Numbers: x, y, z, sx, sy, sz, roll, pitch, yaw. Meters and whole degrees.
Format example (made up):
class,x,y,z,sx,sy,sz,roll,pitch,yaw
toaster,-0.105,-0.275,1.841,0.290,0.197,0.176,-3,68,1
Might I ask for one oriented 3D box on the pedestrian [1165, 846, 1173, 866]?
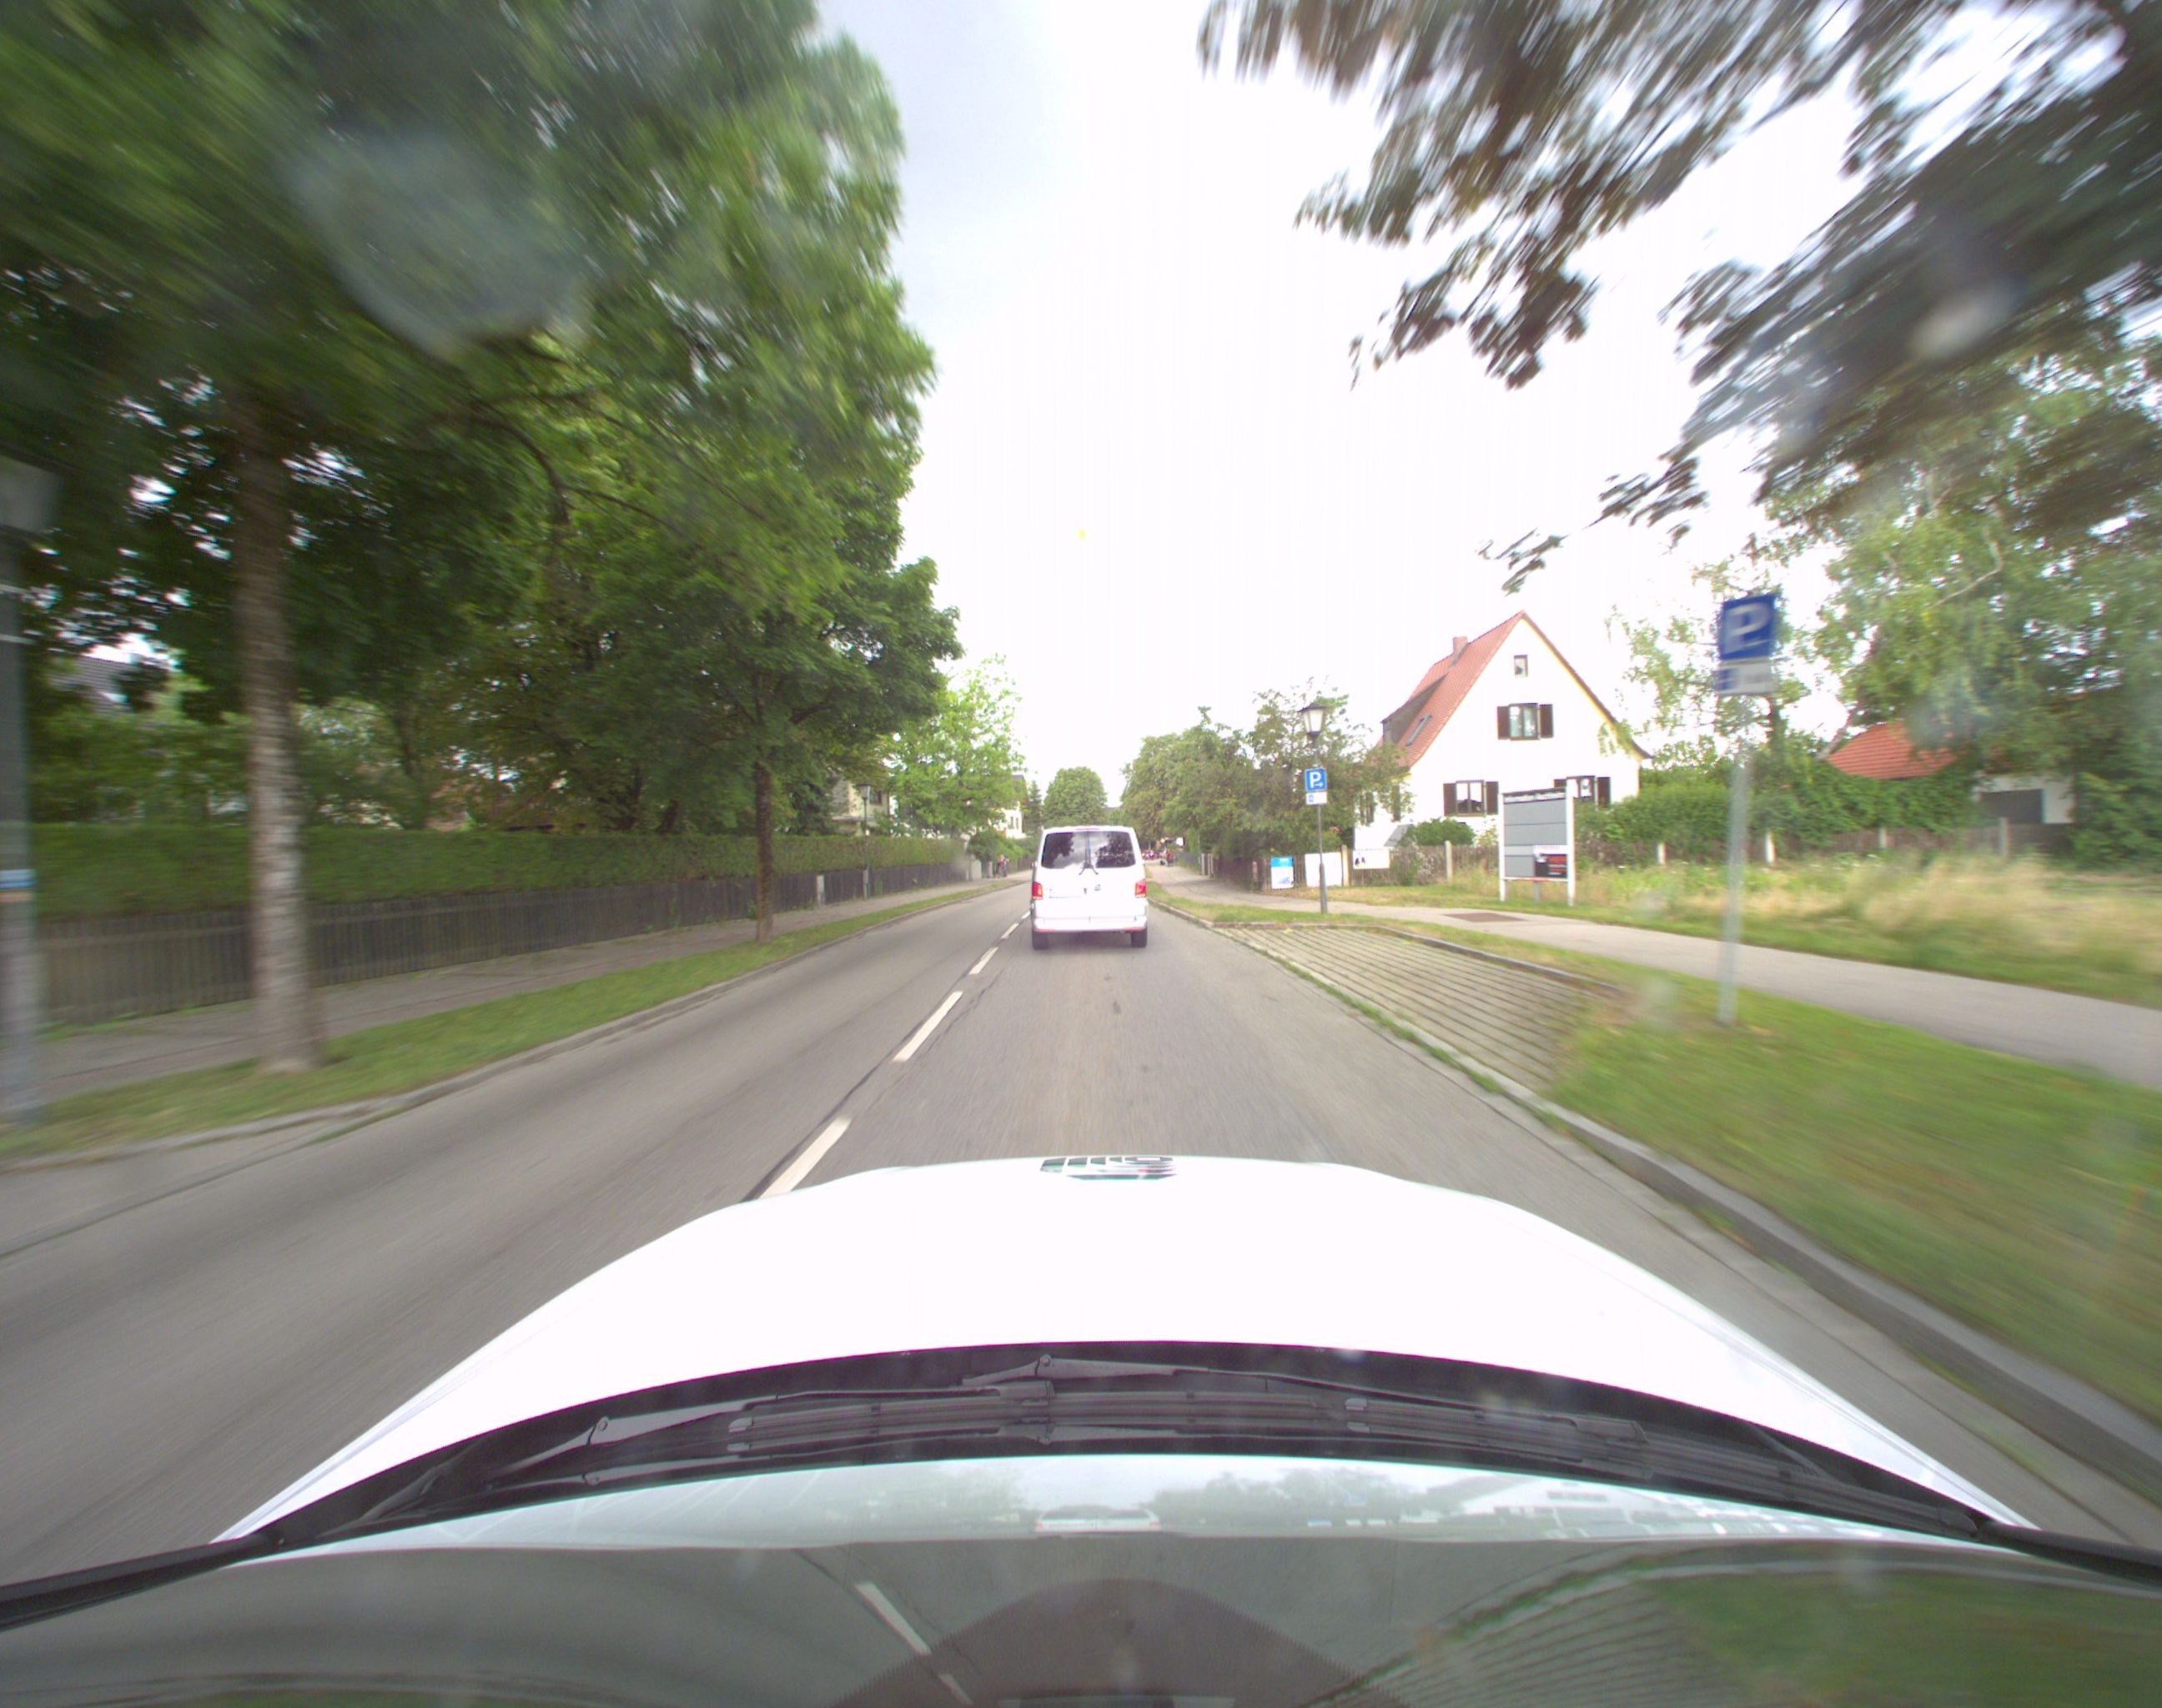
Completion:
class,x,y,z,sx,sy,sz,roll,pitch,yaw
pedestrian,6.975,0.142,64.768,0.550,1.549,0.612,0,0,-1

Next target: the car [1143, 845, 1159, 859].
class,x,y,z,sx,sy,sz,roll,pitch,yaw
car,10.624,-0.393,123.859,1.981,2.013,4.011,-3,0,10

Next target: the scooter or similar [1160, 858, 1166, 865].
class,x,y,z,sx,sy,sz,roll,pitch,yaw
scooter or similar,7.221,0.655,72.094,0.473,0.545,0.458,0,0,-1

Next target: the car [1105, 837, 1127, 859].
class,x,y,z,sx,sy,sz,roll,pitch,yaw
car,3.350,-0.562,77.787,1.984,2.013,4.005,0,0,4

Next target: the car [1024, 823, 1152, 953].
class,x,y,z,sx,sy,sz,roll,pitch,yaw
car,0.208,0.512,14.232,1.880,1.912,4.003,-1,0,3

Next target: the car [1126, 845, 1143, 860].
class,x,y,z,sx,sy,sz,roll,pitch,yaw
car,7.385,-0.232,112.537,1.983,2.013,4.008,-3,0,6

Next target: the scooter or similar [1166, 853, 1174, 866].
class,x,y,z,sx,sy,sz,roll,pitch,yaw
scooter or similar,6.973,0.435,64.034,0.550,0.971,0.620,0,0,-1

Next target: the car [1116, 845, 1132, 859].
class,x,y,z,sx,sy,sz,roll,pitch,yaw
car,6.471,-0.300,123.178,1.982,2.013,4.009,-3,0,8

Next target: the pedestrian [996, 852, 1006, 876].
class,x,y,z,sx,sy,sz,roll,pitch,yaw
pedestrian,-5.234,0.647,53.240,0.620,1.549,0.522,0,0,-1

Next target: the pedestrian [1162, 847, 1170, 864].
class,x,y,z,sx,sy,sz,roll,pitch,yaw
pedestrian,7.448,0.142,71.417,0.620,1.523,0.579,0,0,-1
